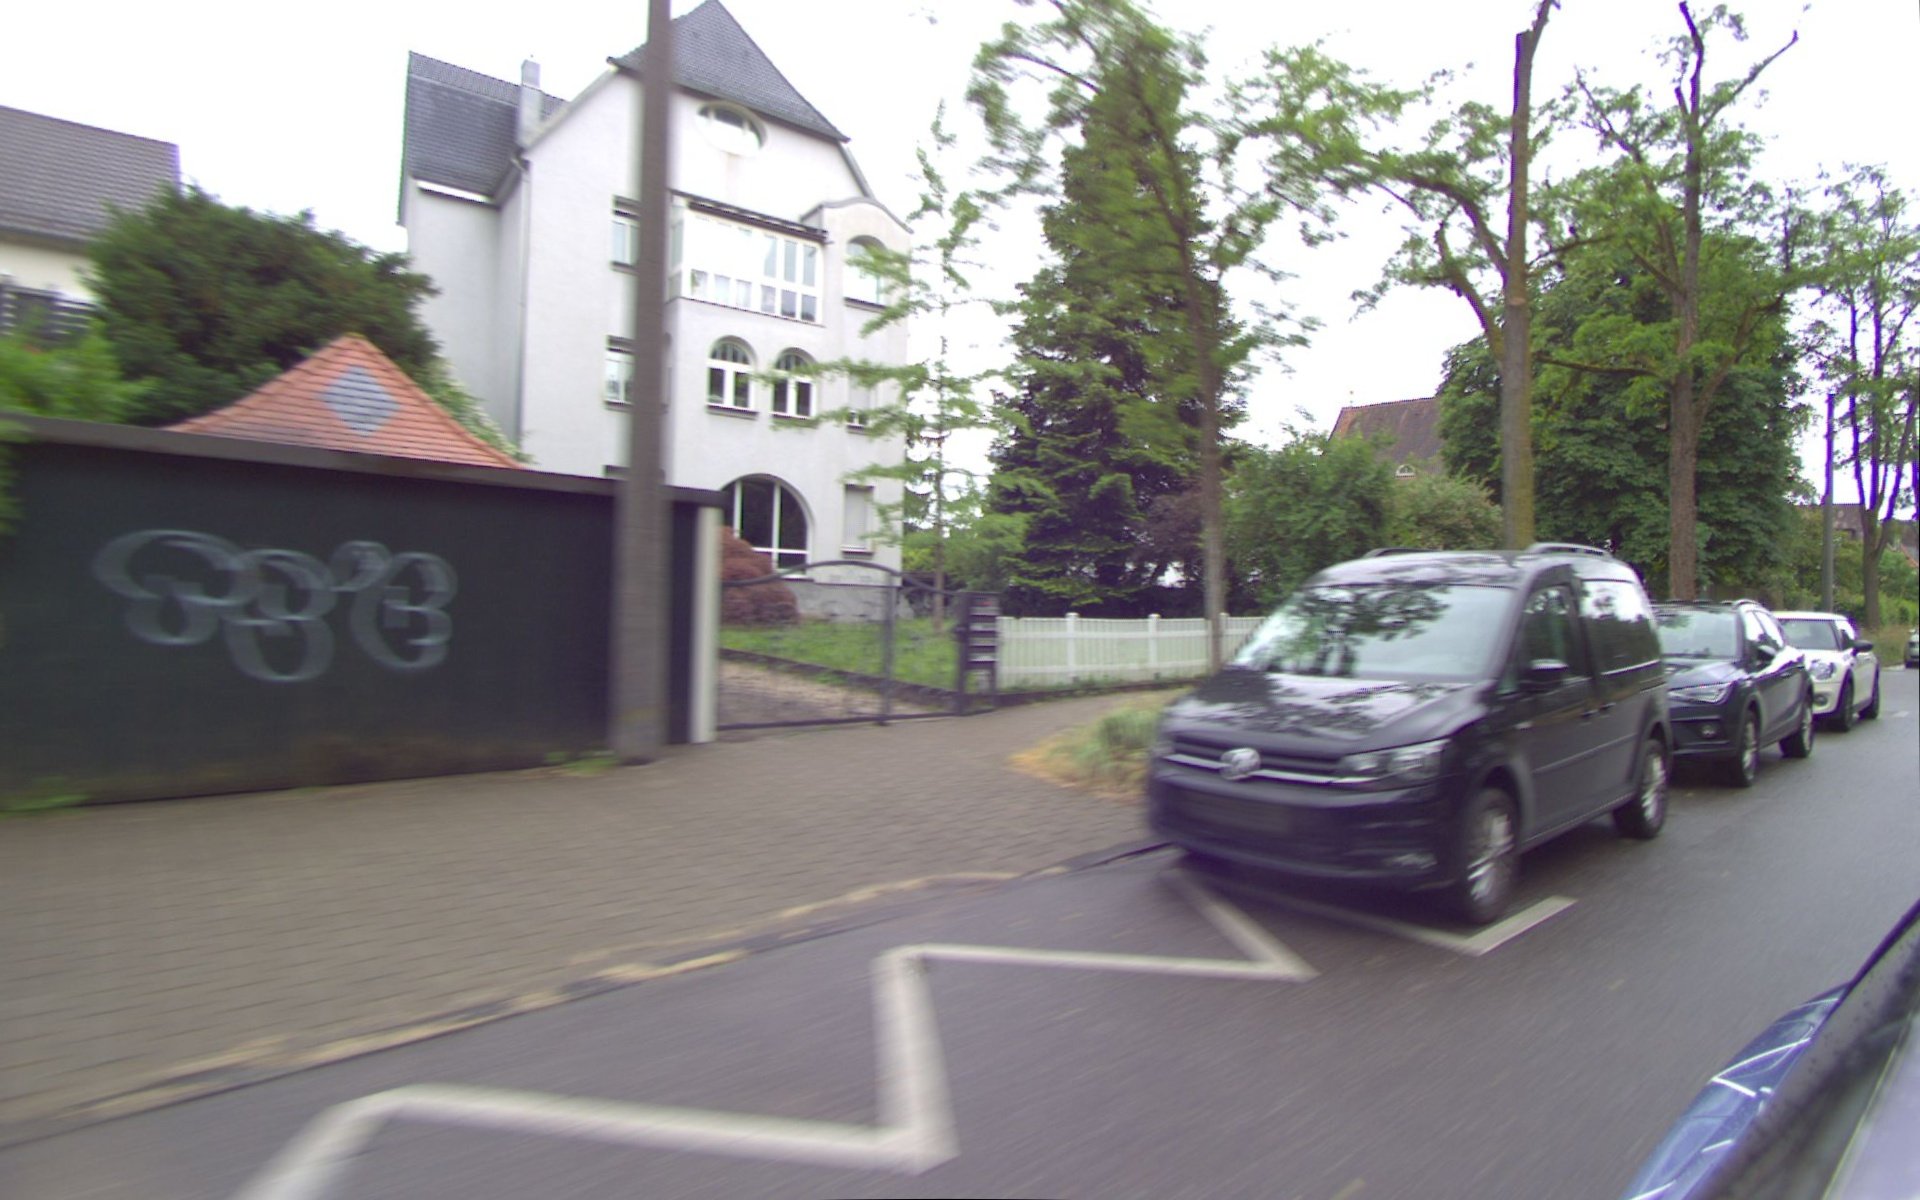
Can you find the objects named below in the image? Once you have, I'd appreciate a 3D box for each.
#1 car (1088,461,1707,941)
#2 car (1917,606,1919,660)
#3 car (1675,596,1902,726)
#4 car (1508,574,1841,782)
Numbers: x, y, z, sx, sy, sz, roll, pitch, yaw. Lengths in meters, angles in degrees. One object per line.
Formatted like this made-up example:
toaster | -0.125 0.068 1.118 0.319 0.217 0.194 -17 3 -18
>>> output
car | 2.798 0.423 5.980 4.155 1.871 1.733 1 -1 -41
car | 27.245 0.885 27.288 3.931 1.413 1.784 1 -1 -42
car | 11.041 0.728 13.410 3.659 1.483 1.741 1 -1 -41
car | 6.893 0.621 9.609 4.004 1.575 1.681 1 -1 -41
